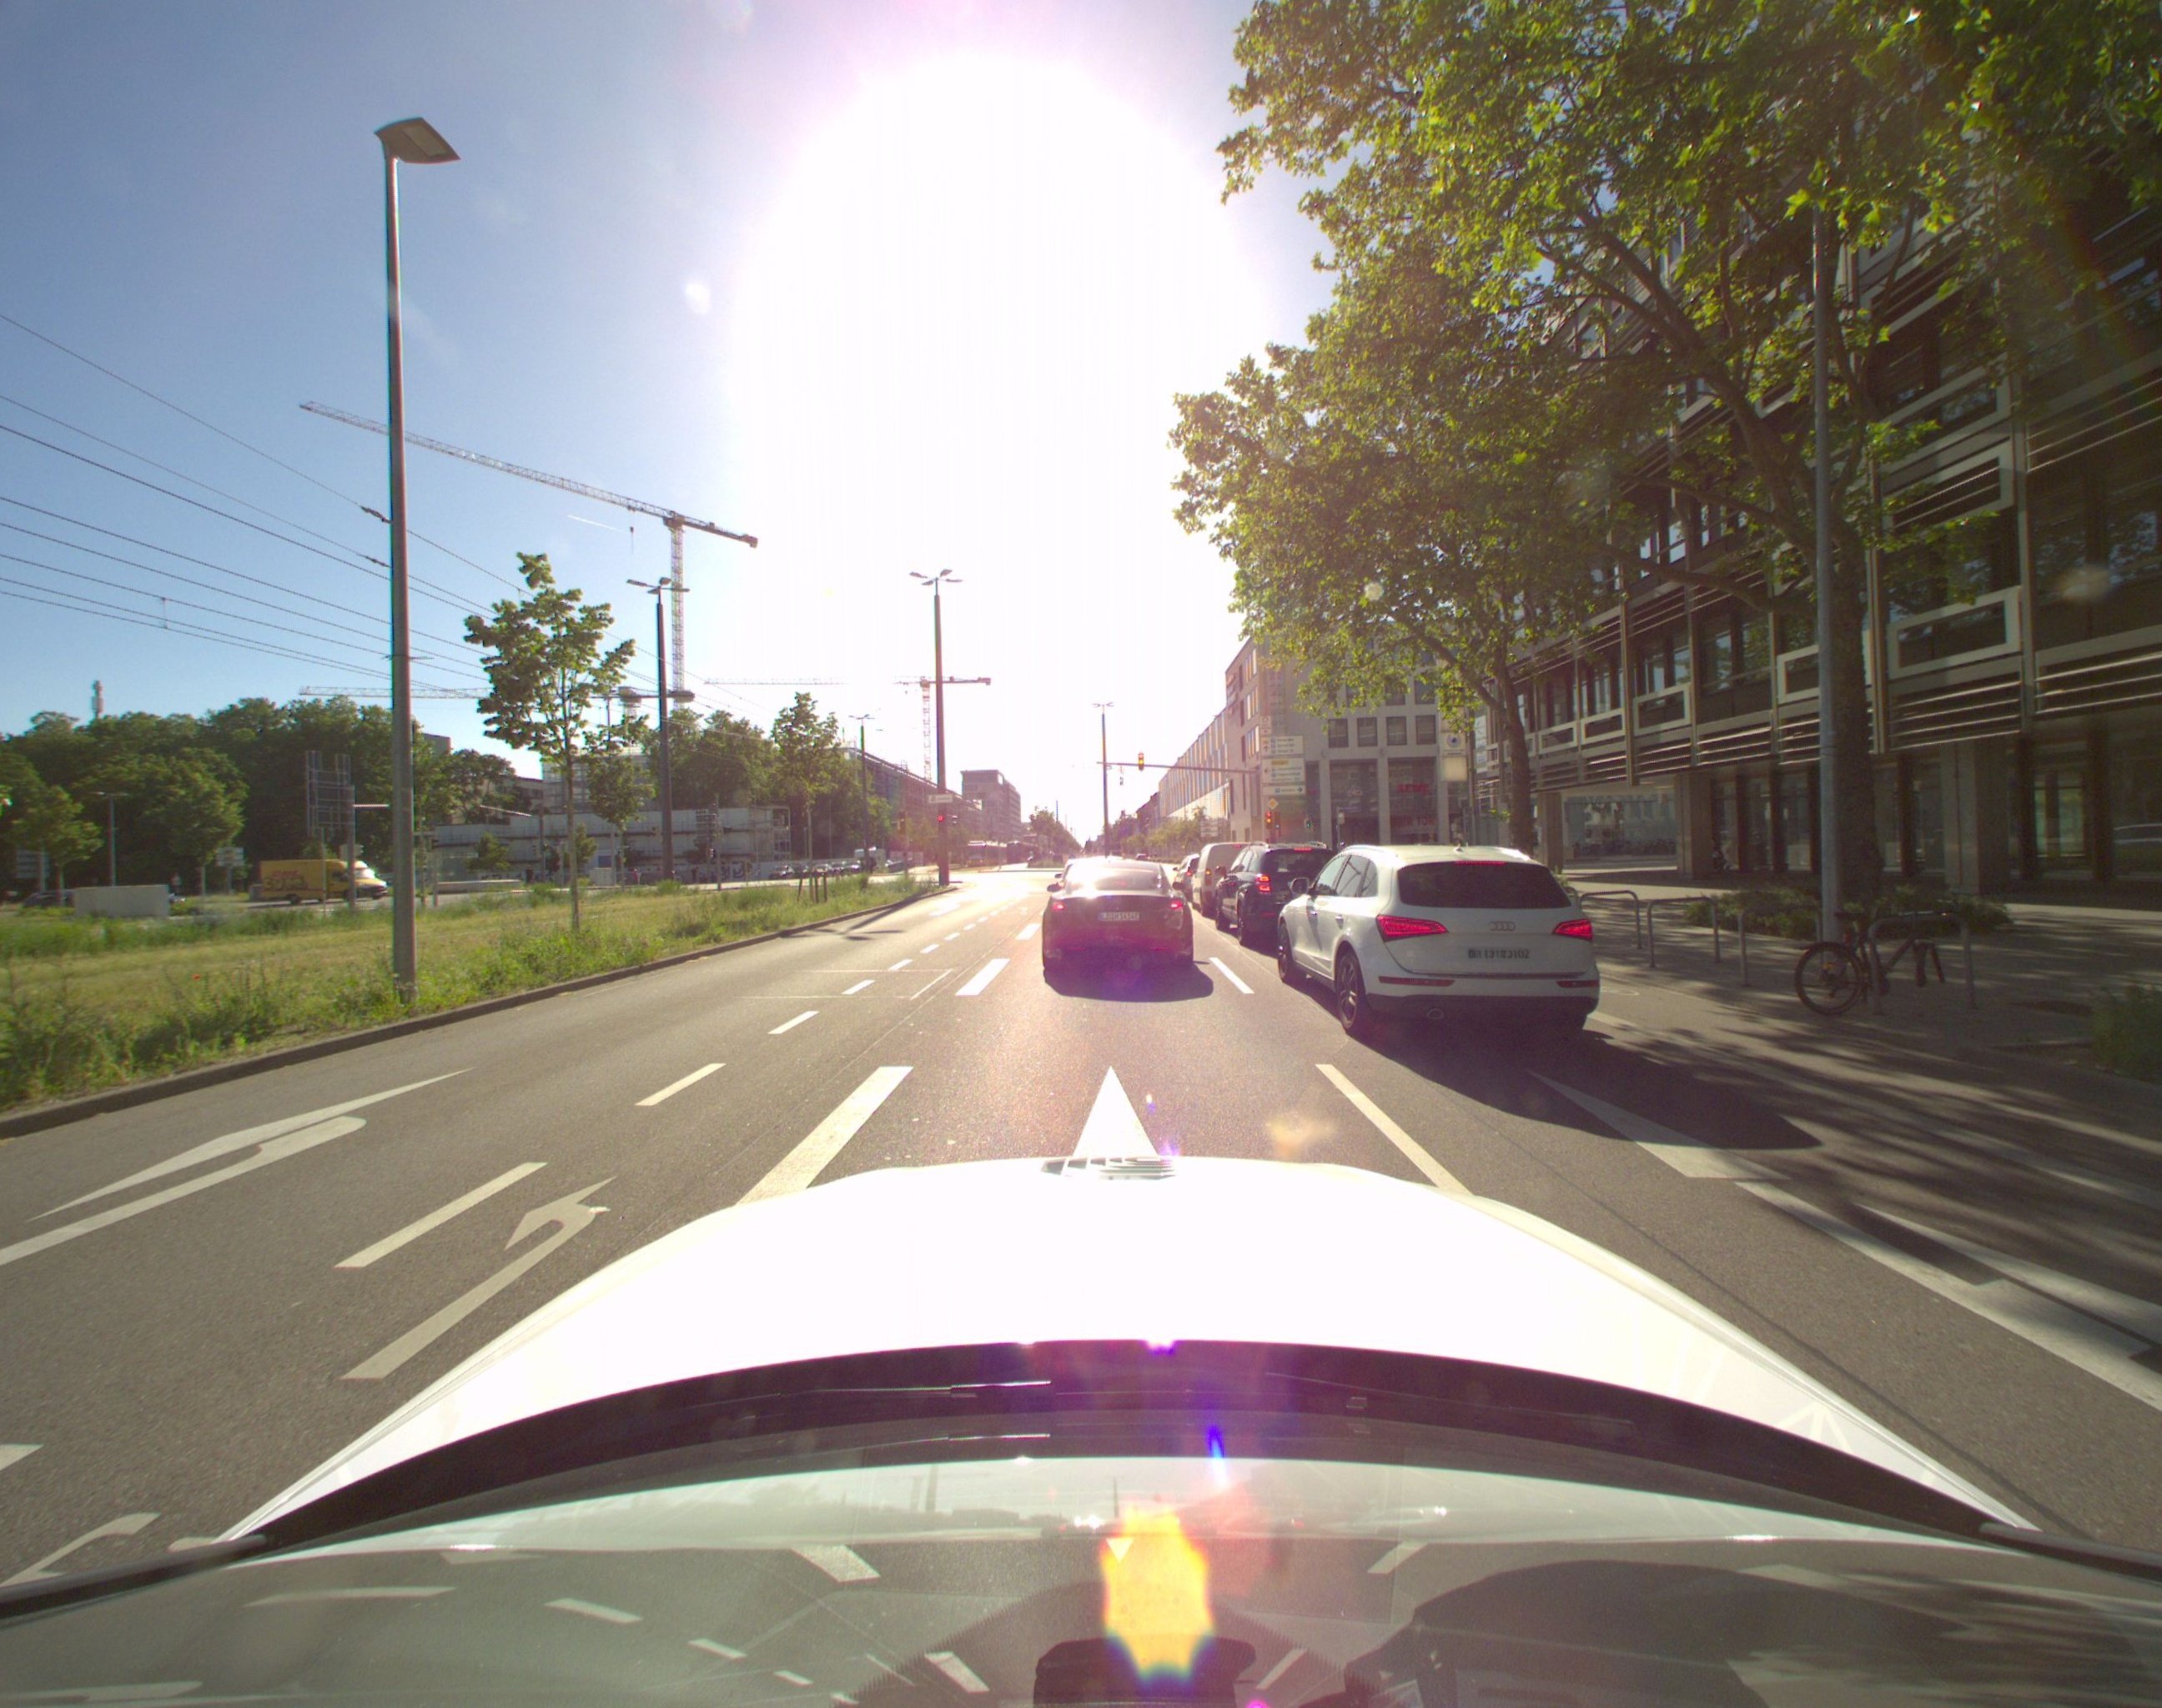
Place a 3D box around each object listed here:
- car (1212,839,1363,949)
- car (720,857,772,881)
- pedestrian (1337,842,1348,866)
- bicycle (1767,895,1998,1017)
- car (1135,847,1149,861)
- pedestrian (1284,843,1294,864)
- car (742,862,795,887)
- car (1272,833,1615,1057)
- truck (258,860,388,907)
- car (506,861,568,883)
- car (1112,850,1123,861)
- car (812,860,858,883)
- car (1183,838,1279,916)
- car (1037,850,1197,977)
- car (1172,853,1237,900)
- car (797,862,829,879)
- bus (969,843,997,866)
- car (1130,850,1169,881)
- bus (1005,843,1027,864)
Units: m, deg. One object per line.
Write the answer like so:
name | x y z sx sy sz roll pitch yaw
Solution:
car | 3.529 0.607 14.696 1.715 1.653 4.187 -2 0 1
car | -17.686 0.789 43.159 1.371 1.178 3.220 0 -1 1
pedestrian | 16.035 -0.014 49.889 0.559 1.440 0.633 0 -1 8
bicycle | 7.344 0.919 7.491 1.689 0.957 0.478 -3 0 -3
car | 8.964 0.031 119.927 1.986 2.014 4.001 0 -1 2
pedestrian | 13.945 -0.022 54.615 0.559 1.440 0.633 0 -1 8
car | -15.929 1.029 41.664 1.371 1.178 3.220 0 -1 1
car | 3.162 0.664 8.101 1.714 1.618 4.190 -2 0 3
truck | -49.381 1.891 53.082 6.930 2.963 2.003 0 -1 5
car | -39.791 1.282 59.690 1.704 1.556 4.001 0 -1 2
car | 6.768 0.233 153.028 1.986 2.014 4.001 0 -1 2
car | -12.887 0.909 42.760 1.371 1.178 3.220 0 -1 1
car | 3.815 0.531 21.355 1.716 1.782 4.186 -2 0 0
car | 0.464 0.718 11.886 1.905 1.486 4.010 -2 0 1
car | 4.130 0.699 27.876 1.715 1.431 4.188 -2 0 2
car | -27.270 1.678 82.982 1.831 1.612 3.896 0 -1 1
bus | -12.332 0.110 103.033 2.620 2.783 8.839 0 -1 -1
car | 3.363 0.538 40.730 1.715 1.431 4.188 -2 0 2
bus | -9.421 -0.051 119.355 2.620 2.959 9.893 0 -1 -1
